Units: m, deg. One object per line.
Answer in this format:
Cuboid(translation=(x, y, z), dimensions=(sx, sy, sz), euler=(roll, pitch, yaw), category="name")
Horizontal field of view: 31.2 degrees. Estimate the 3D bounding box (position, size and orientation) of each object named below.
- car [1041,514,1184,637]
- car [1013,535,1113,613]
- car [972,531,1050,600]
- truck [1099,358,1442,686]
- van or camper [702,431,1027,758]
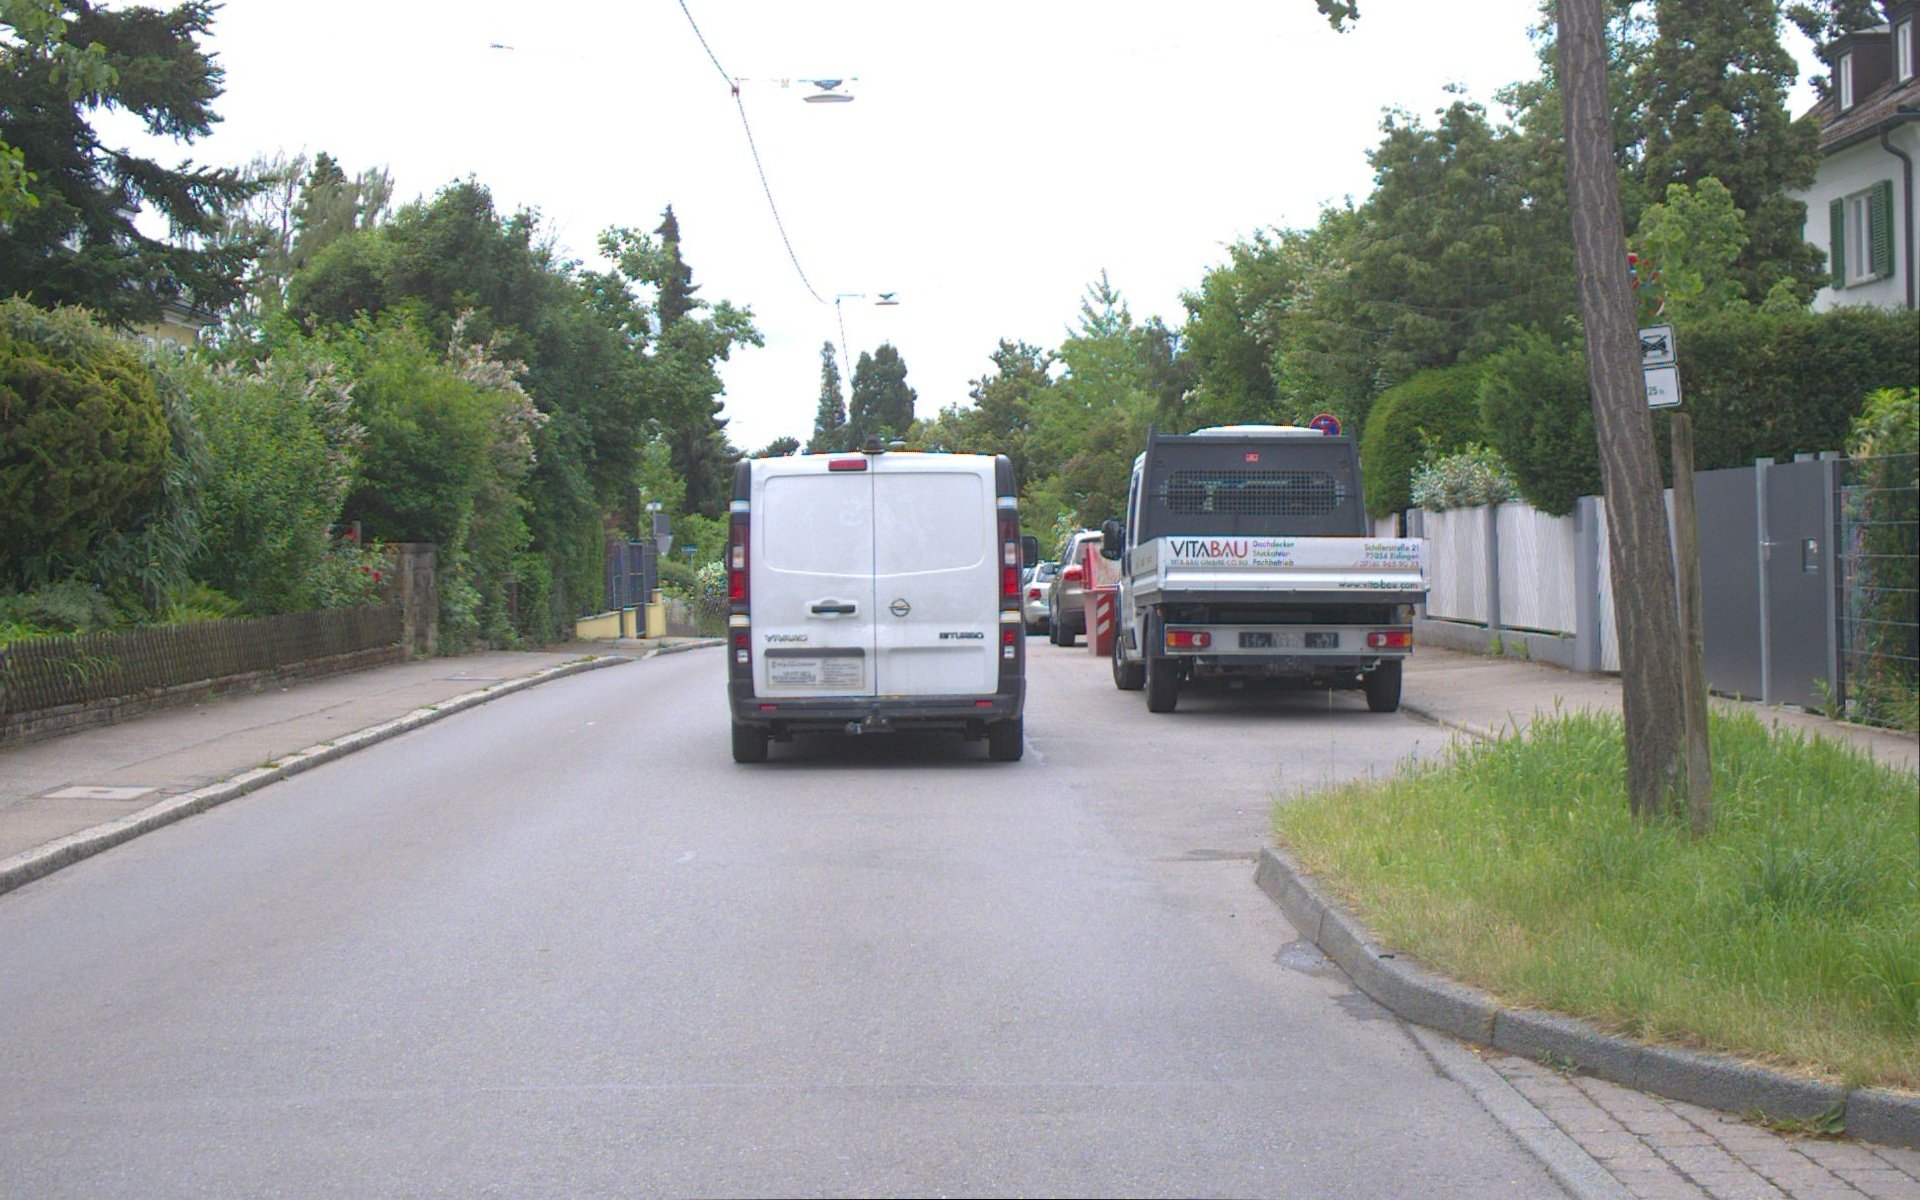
Cuboid(translation=(2.176, -0.363, 50.032), dimensions=(1.744, 1.669, 4.185), euler=(-2, 1, -1), category="car")
Cuboid(translation=(2.028, -0.526, 68.831), dimensions=(1.744, 1.442, 4.259), euler=(-2, 1, -1), category="car")
Cuboid(translation=(1.253, -0.851, 85.611), dimensions=(1.744, 1.624, 4.259), euler=(-2, 1, -1), category="car")
Cuboid(translation=(2.483, -0.654, 29.534), dimensions=(2.187, 2.463, 7.431), euler=(0, 1, -1), category="truck")
Cuboid(translation=(-0.619, -0.032, 22.924), dimensions=(1.939, 1.947, 4.765), euler=(0, 0, -1), category="van or camper")
